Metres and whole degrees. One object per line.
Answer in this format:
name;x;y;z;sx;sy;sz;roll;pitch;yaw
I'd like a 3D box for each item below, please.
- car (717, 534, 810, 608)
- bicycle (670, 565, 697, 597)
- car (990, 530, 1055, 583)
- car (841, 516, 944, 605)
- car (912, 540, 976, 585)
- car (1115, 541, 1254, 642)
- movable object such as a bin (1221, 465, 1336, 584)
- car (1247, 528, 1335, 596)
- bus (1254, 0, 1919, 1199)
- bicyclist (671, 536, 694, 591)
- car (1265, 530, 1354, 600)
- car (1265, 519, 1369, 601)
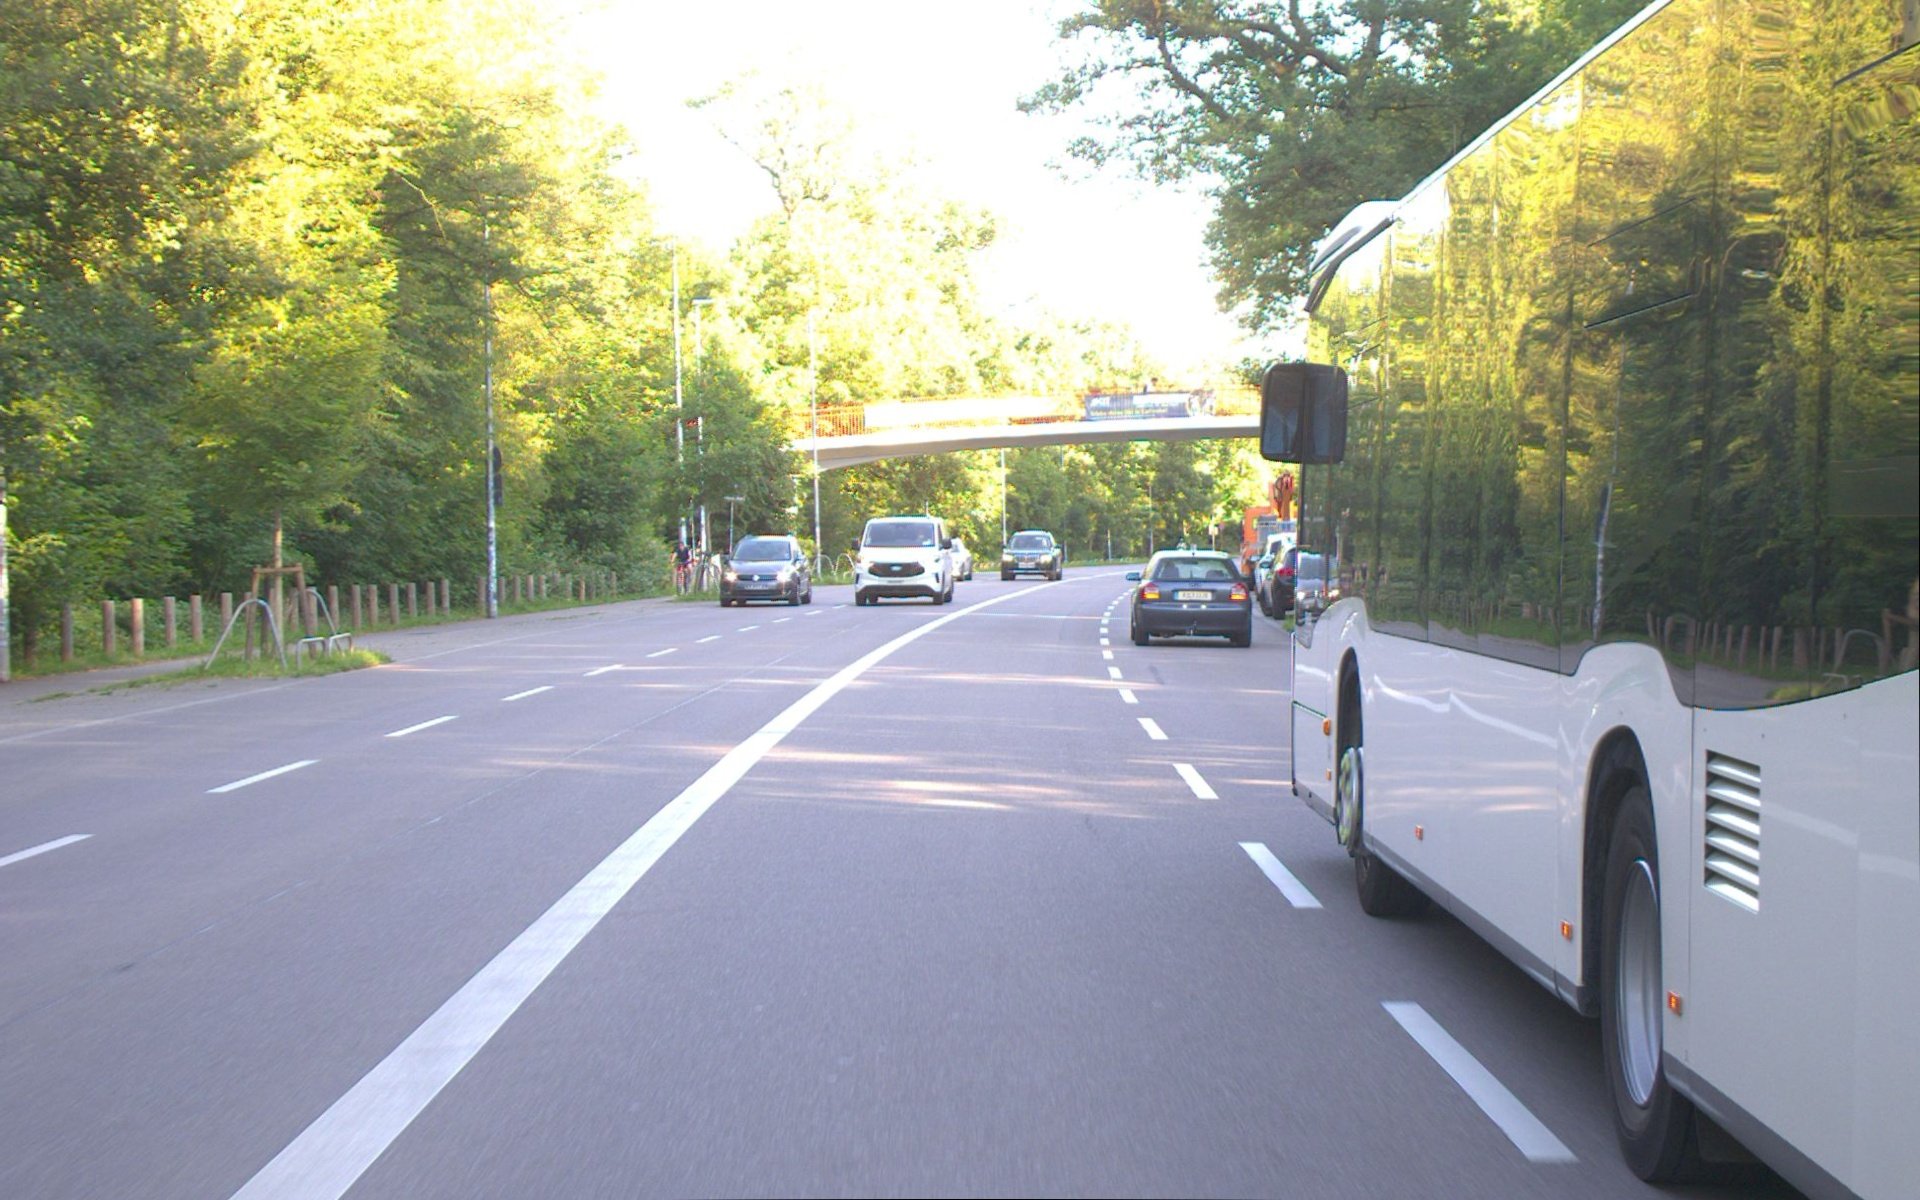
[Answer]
car;-4.447;-0.677;78.190;1.800;1.594;4.000;-1;1;1
bicycle;-7.470;-0.523;93.021;0.495;0.811;1.808;1;2;3
car;2.197;-1.511;119.428;1.918;1.698;4.442;-3;1;4
car;-1.489;-0.903;78.080;2.206;1.954;4.913;0;1;0
car;-0.528;-1.310;118.986;1.898;1.526;4.529;0;1;4
car;3.308;-0.152;51.279;1.727;1.436;4.090;0;1;-1
movable object such as a bin;9.359;-2.215;101.650;2.758;3.359;7.600;-1;1;1
car;7.907;-0.928;82.517;1.838;1.569;4.459;0;1;2
bus;2.800;-0.323;10.799;2.704;3.211;12.279;0;1;0
bicyclist;-7.498;-0.989;92.947;0.499;1.479;0.761;-1;1;3
car;7.848;-0.799;77.382;1.728;1.536;4.090;0;1;2
car;6.941;-0.796;67.176;1.728;1.519;4.090;-1;1;2
